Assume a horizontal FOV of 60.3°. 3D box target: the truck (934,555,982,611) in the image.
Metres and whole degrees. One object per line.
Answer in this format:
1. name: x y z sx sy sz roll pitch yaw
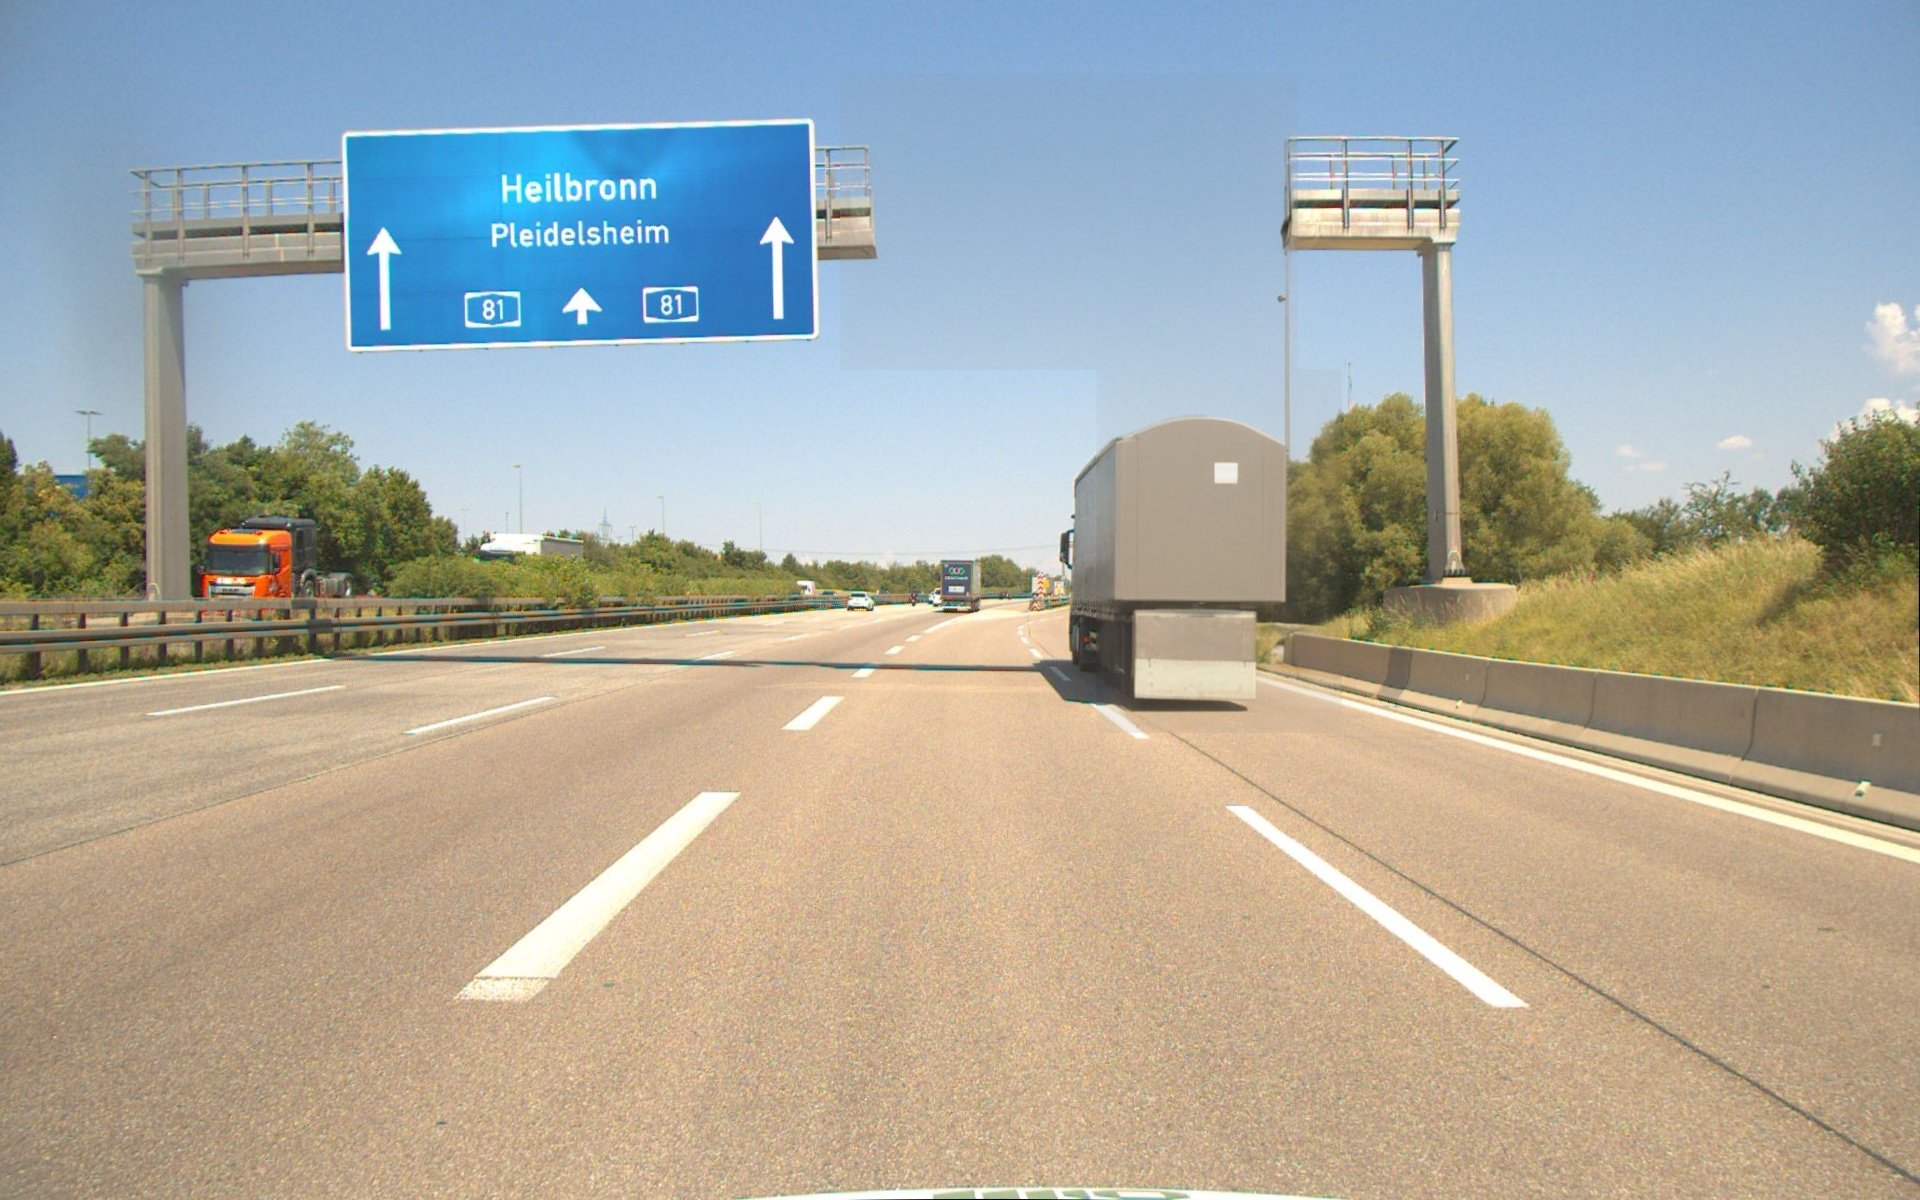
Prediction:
1. truck: -0.181 -1.380 136.321 3.670 4.345 14.494 1 0 0

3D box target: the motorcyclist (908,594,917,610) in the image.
1. motorcyclist: -4.906 0.232 171.553 0.875 1.625 1.299 0 -1 0

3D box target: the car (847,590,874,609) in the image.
1. car: -7.769 -0.010 129.264 1.745 1.466 4.669 0 0 1

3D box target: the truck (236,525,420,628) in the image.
1. truck: -25.869 -0.917 68.582 2.696 3.860 12.330 1 0 1

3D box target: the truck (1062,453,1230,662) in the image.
1. truck: 3.889 -0.925 36.307 2.868 4.085 7.584 0 1 0

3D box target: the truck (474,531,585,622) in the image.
1. truck: -21.615 -1.121 83.682 2.696 4.281 10.404 1 0 1

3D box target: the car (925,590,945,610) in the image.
1. car: -2.591 0.040 170.424 1.891 1.884 4.692 -1 -2 1

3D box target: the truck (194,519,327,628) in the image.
1. truck: -26.007 -0.952 61.769 2.696 3.860 5.103 1 0 1

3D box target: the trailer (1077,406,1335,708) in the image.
1. trailer: 3.766 -0.726 28.484 2.867 4.085 12.041 0 1 1

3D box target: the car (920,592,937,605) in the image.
1. car: -3.810 -0.127 200.582 1.837 1.466 5.127 0 -1 3
